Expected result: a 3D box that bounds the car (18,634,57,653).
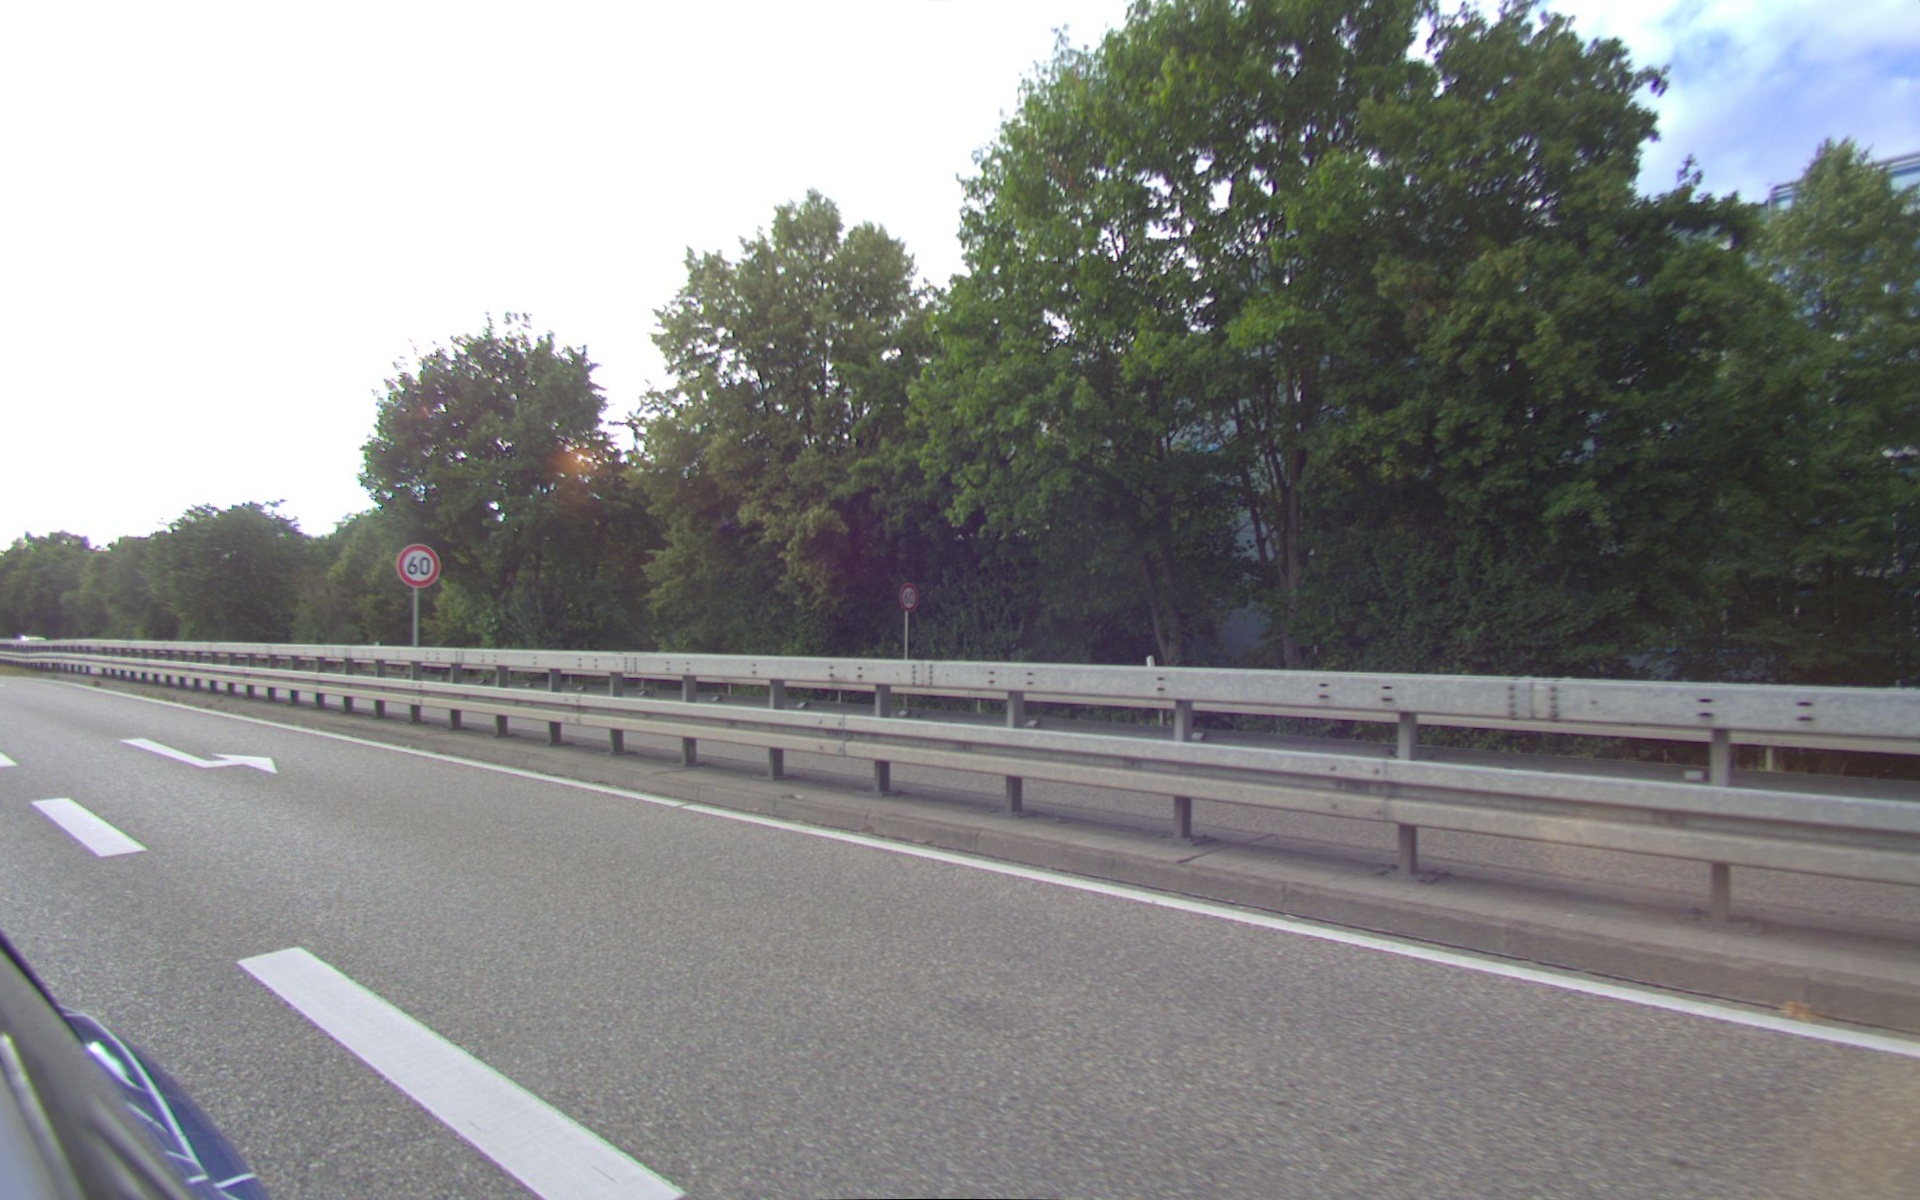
[{"bbox_3d":[-73.195,3.468,80.264,4.455,1.424,1.741,-3,-3,40],"label":"car"}]
